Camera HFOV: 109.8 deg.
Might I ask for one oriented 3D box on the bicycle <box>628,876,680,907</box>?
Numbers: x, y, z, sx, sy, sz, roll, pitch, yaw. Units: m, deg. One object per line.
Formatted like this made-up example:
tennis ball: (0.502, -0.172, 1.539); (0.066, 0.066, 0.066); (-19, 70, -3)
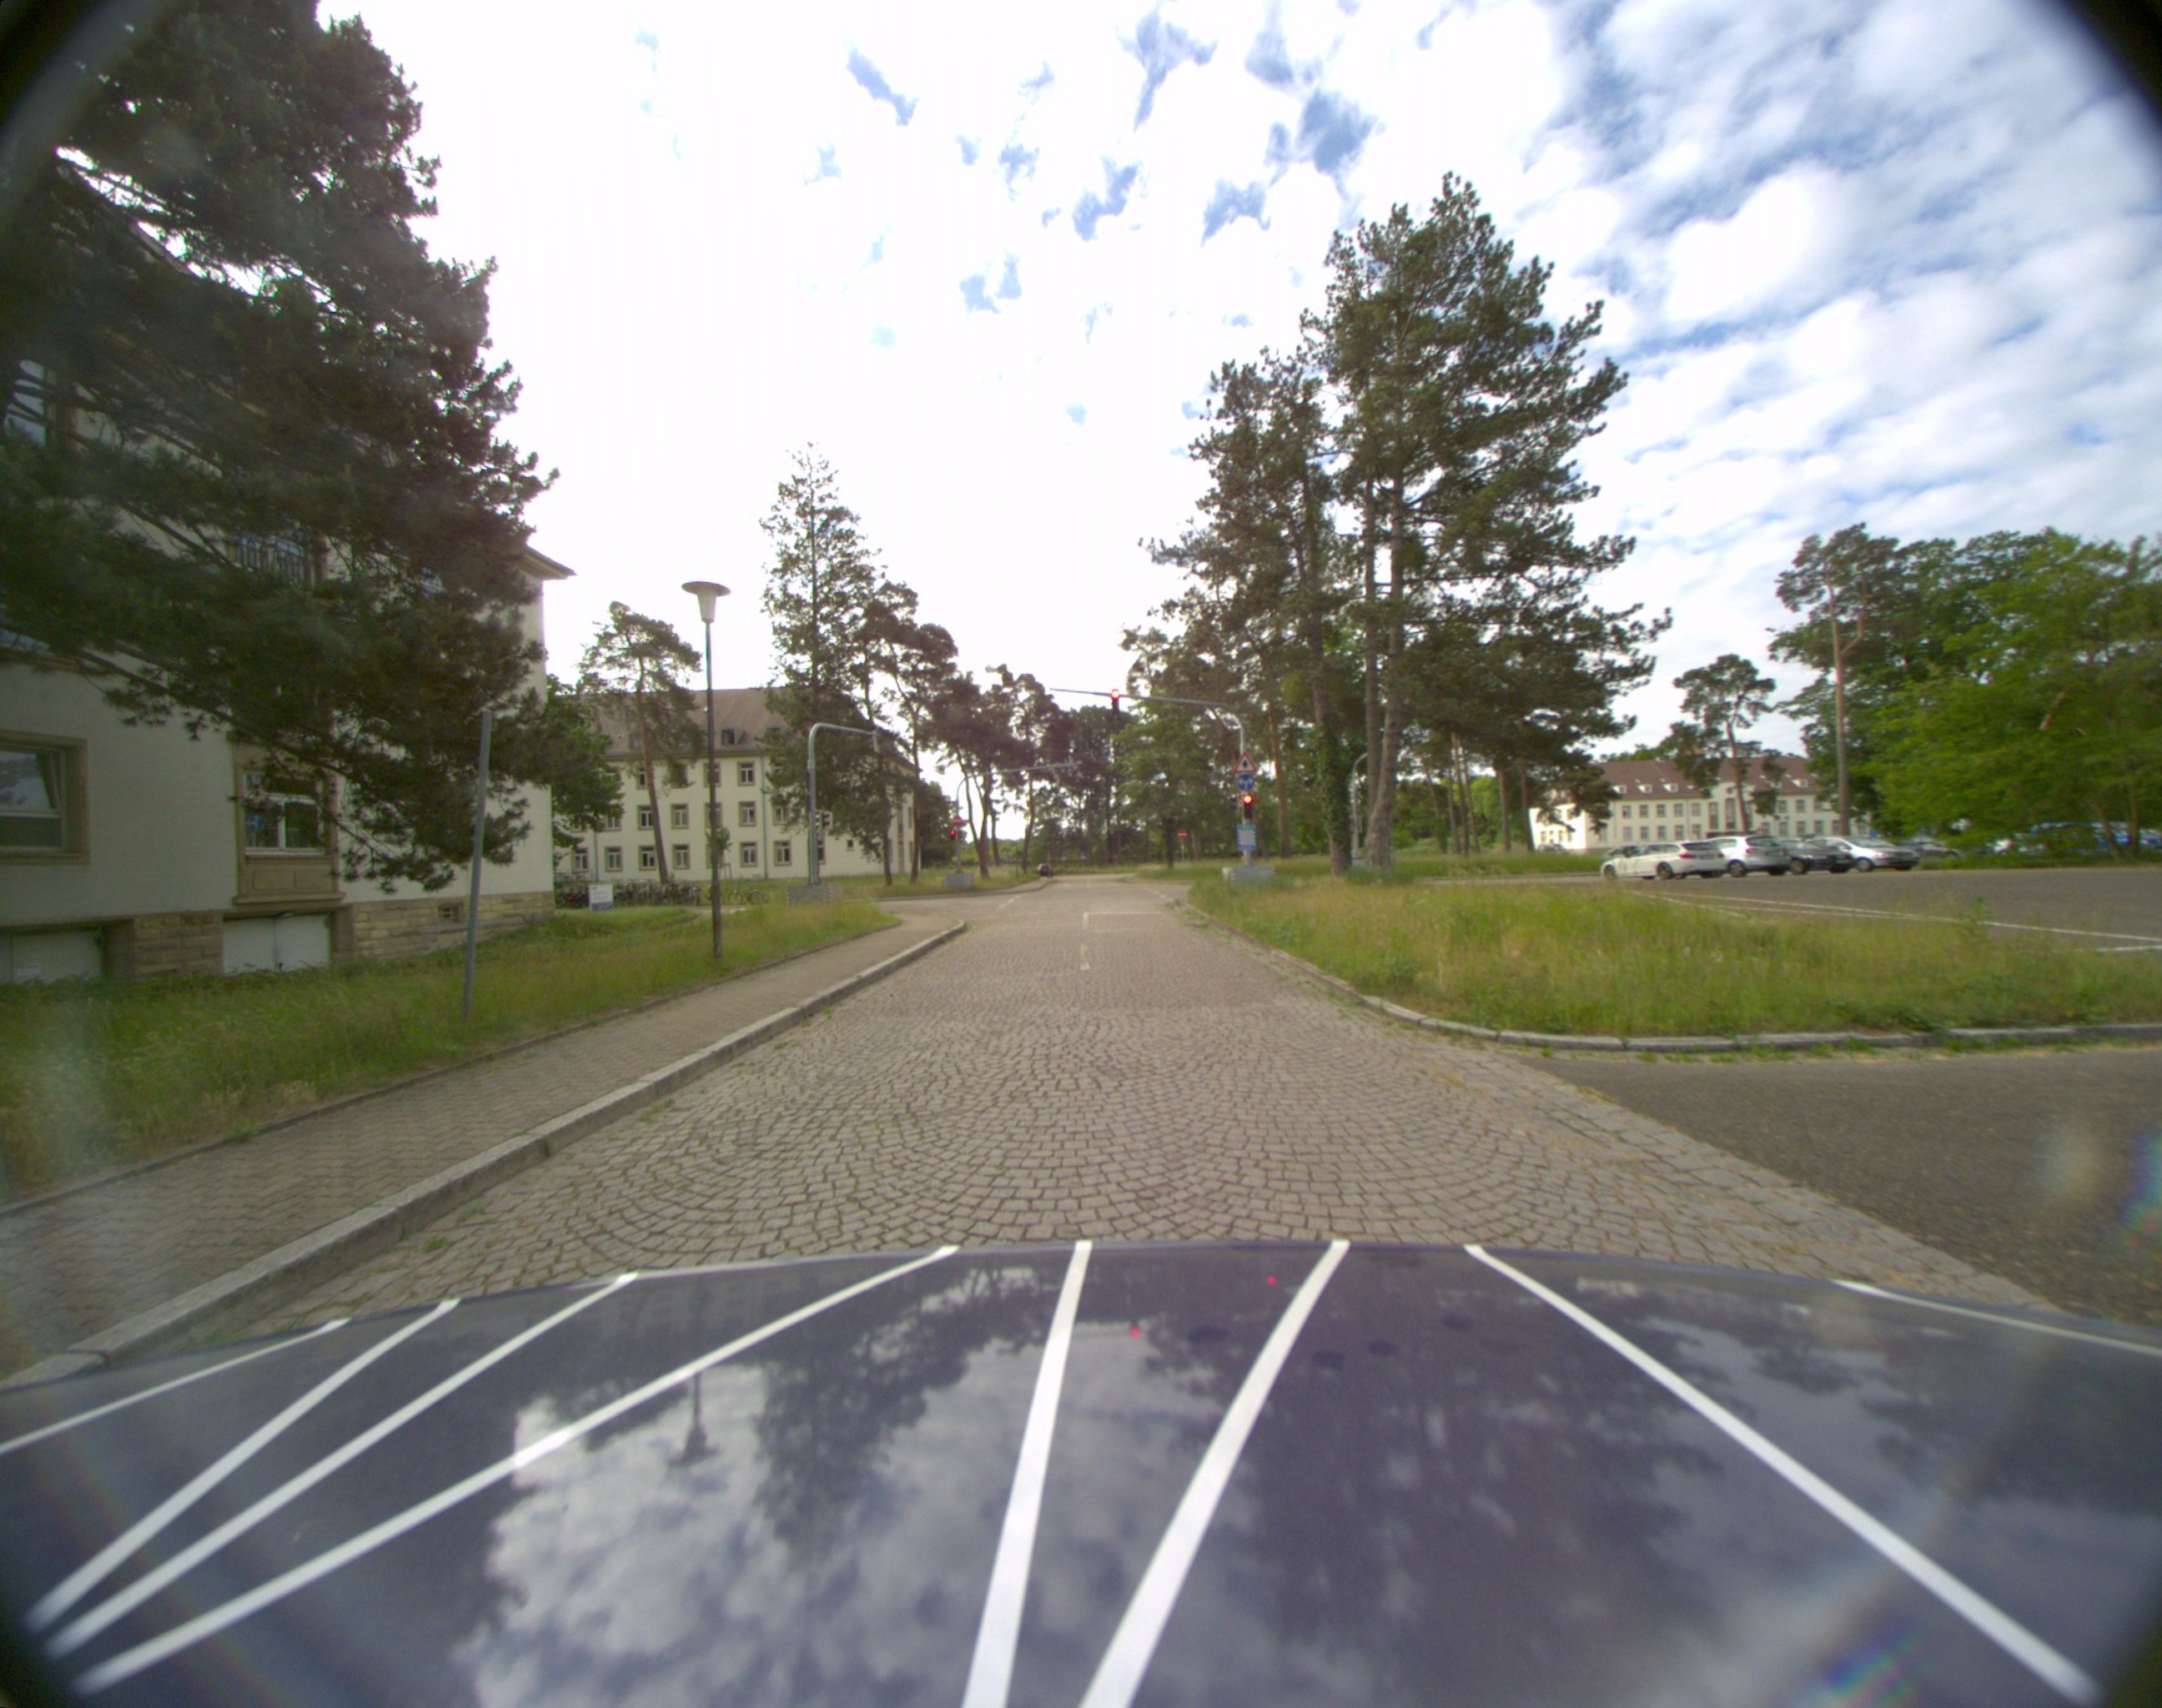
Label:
bicycle: (-21.381, 1.859, 38.104); (0.950, 1.363, 2.812); (-2, 0, 0)

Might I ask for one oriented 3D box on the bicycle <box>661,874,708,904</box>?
bicycle: (-19.594, 1.700, 37.619); (0.874, 1.359, 2.628); (-2, 0, 0)

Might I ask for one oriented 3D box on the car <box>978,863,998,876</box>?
car: (-11.472, 1.894, 93.821); (1.771, 1.524, 3.695); (-2, 0, 2)

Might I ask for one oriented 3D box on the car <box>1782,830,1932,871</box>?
car: (30.512, -0.109, 30.063); (1.680, 1.447, 3.986); (-2, 0, -3)

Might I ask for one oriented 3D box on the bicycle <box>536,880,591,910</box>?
bicycle: (-25.456, 1.994, 37.439); (0.950, 1.363, 2.576); (-2, 0, 0)

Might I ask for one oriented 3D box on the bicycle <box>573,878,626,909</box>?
bicycle: (-23.778, 1.924, 37.610); (0.950, 1.363, 2.576); (-2, 0, 0)

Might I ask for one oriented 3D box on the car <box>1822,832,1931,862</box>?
car: (42.267, -0.365, 40.505); (1.795, 1.467, 3.936); (-2, 0, 2)

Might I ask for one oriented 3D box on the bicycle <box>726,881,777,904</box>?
bicycle: (-15.625, 1.808, 36.097); (1.977, 0.990, 0.903); (-2, 0, 0)

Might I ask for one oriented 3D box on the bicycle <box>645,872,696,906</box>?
bicycle: (-20.458, 1.720, 37.971); (0.950, 1.574, 2.812); (-2, 0, 0)

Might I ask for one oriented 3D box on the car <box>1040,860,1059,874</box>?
car: (-3.860, 1.577, 93.009); (1.998, 1.524, 4.001); (-2, 0, 2)

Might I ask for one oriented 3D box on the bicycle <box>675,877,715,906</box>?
bicycle: (-18.981, 1.843, 37.426); (0.874, 1.298, 2.120); (-2, 0, 0)

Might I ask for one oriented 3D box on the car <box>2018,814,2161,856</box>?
car: (53.422, -0.957, 40.179); (1.998, 2.002, 4.847); (-2, 0, 5)

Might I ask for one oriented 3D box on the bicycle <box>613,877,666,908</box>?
bicycle: (-21.920, 1.874, 37.779); (0.950, 1.363, 2.812); (-2, 0, 0)

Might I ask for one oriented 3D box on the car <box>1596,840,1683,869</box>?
car: (29.760, 0.023, 40.618); (1.795, 1.410, 4.001); (-2, 0, 2)

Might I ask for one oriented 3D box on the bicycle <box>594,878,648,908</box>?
bicycle: (-22.813, 1.913, 37.753); (0.950, 1.363, 2.812); (-2, 0, 0)

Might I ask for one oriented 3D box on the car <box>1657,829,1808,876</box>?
car: (25.141, 0.004, 29.570); (1.846, 1.580, 4.488); (-2, -2, -3)

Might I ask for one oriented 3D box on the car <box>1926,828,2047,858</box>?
car: (48.097, -0.562, 40.474); (1.795, 1.440, 3.936); (-2, 0, 2)

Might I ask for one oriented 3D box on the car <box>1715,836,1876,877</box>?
car: (27.845, 0.094, 29.874); (1.884, 1.414, 4.634); (-2, 0, -1)

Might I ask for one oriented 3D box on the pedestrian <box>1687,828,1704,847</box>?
pedestrian: (73.020, -1.959, 90.308); (1.055, 2.165, 1.185); (-2, 0, 1)

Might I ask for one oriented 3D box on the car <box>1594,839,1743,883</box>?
car: (22.546, 0.348, 29.480); (1.912, 1.430, 4.823); (-2, -3, -1)

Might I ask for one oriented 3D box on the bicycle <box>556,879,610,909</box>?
bicycle: (-24.617, 1.961, 37.600); (0.950, 1.363, 2.576); (-2, 0, 0)

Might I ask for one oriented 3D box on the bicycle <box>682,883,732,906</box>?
bicycle: (-17.715, 1.901, 36.031); (1.976, 0.990, 0.730); (-2, 0, 5)
